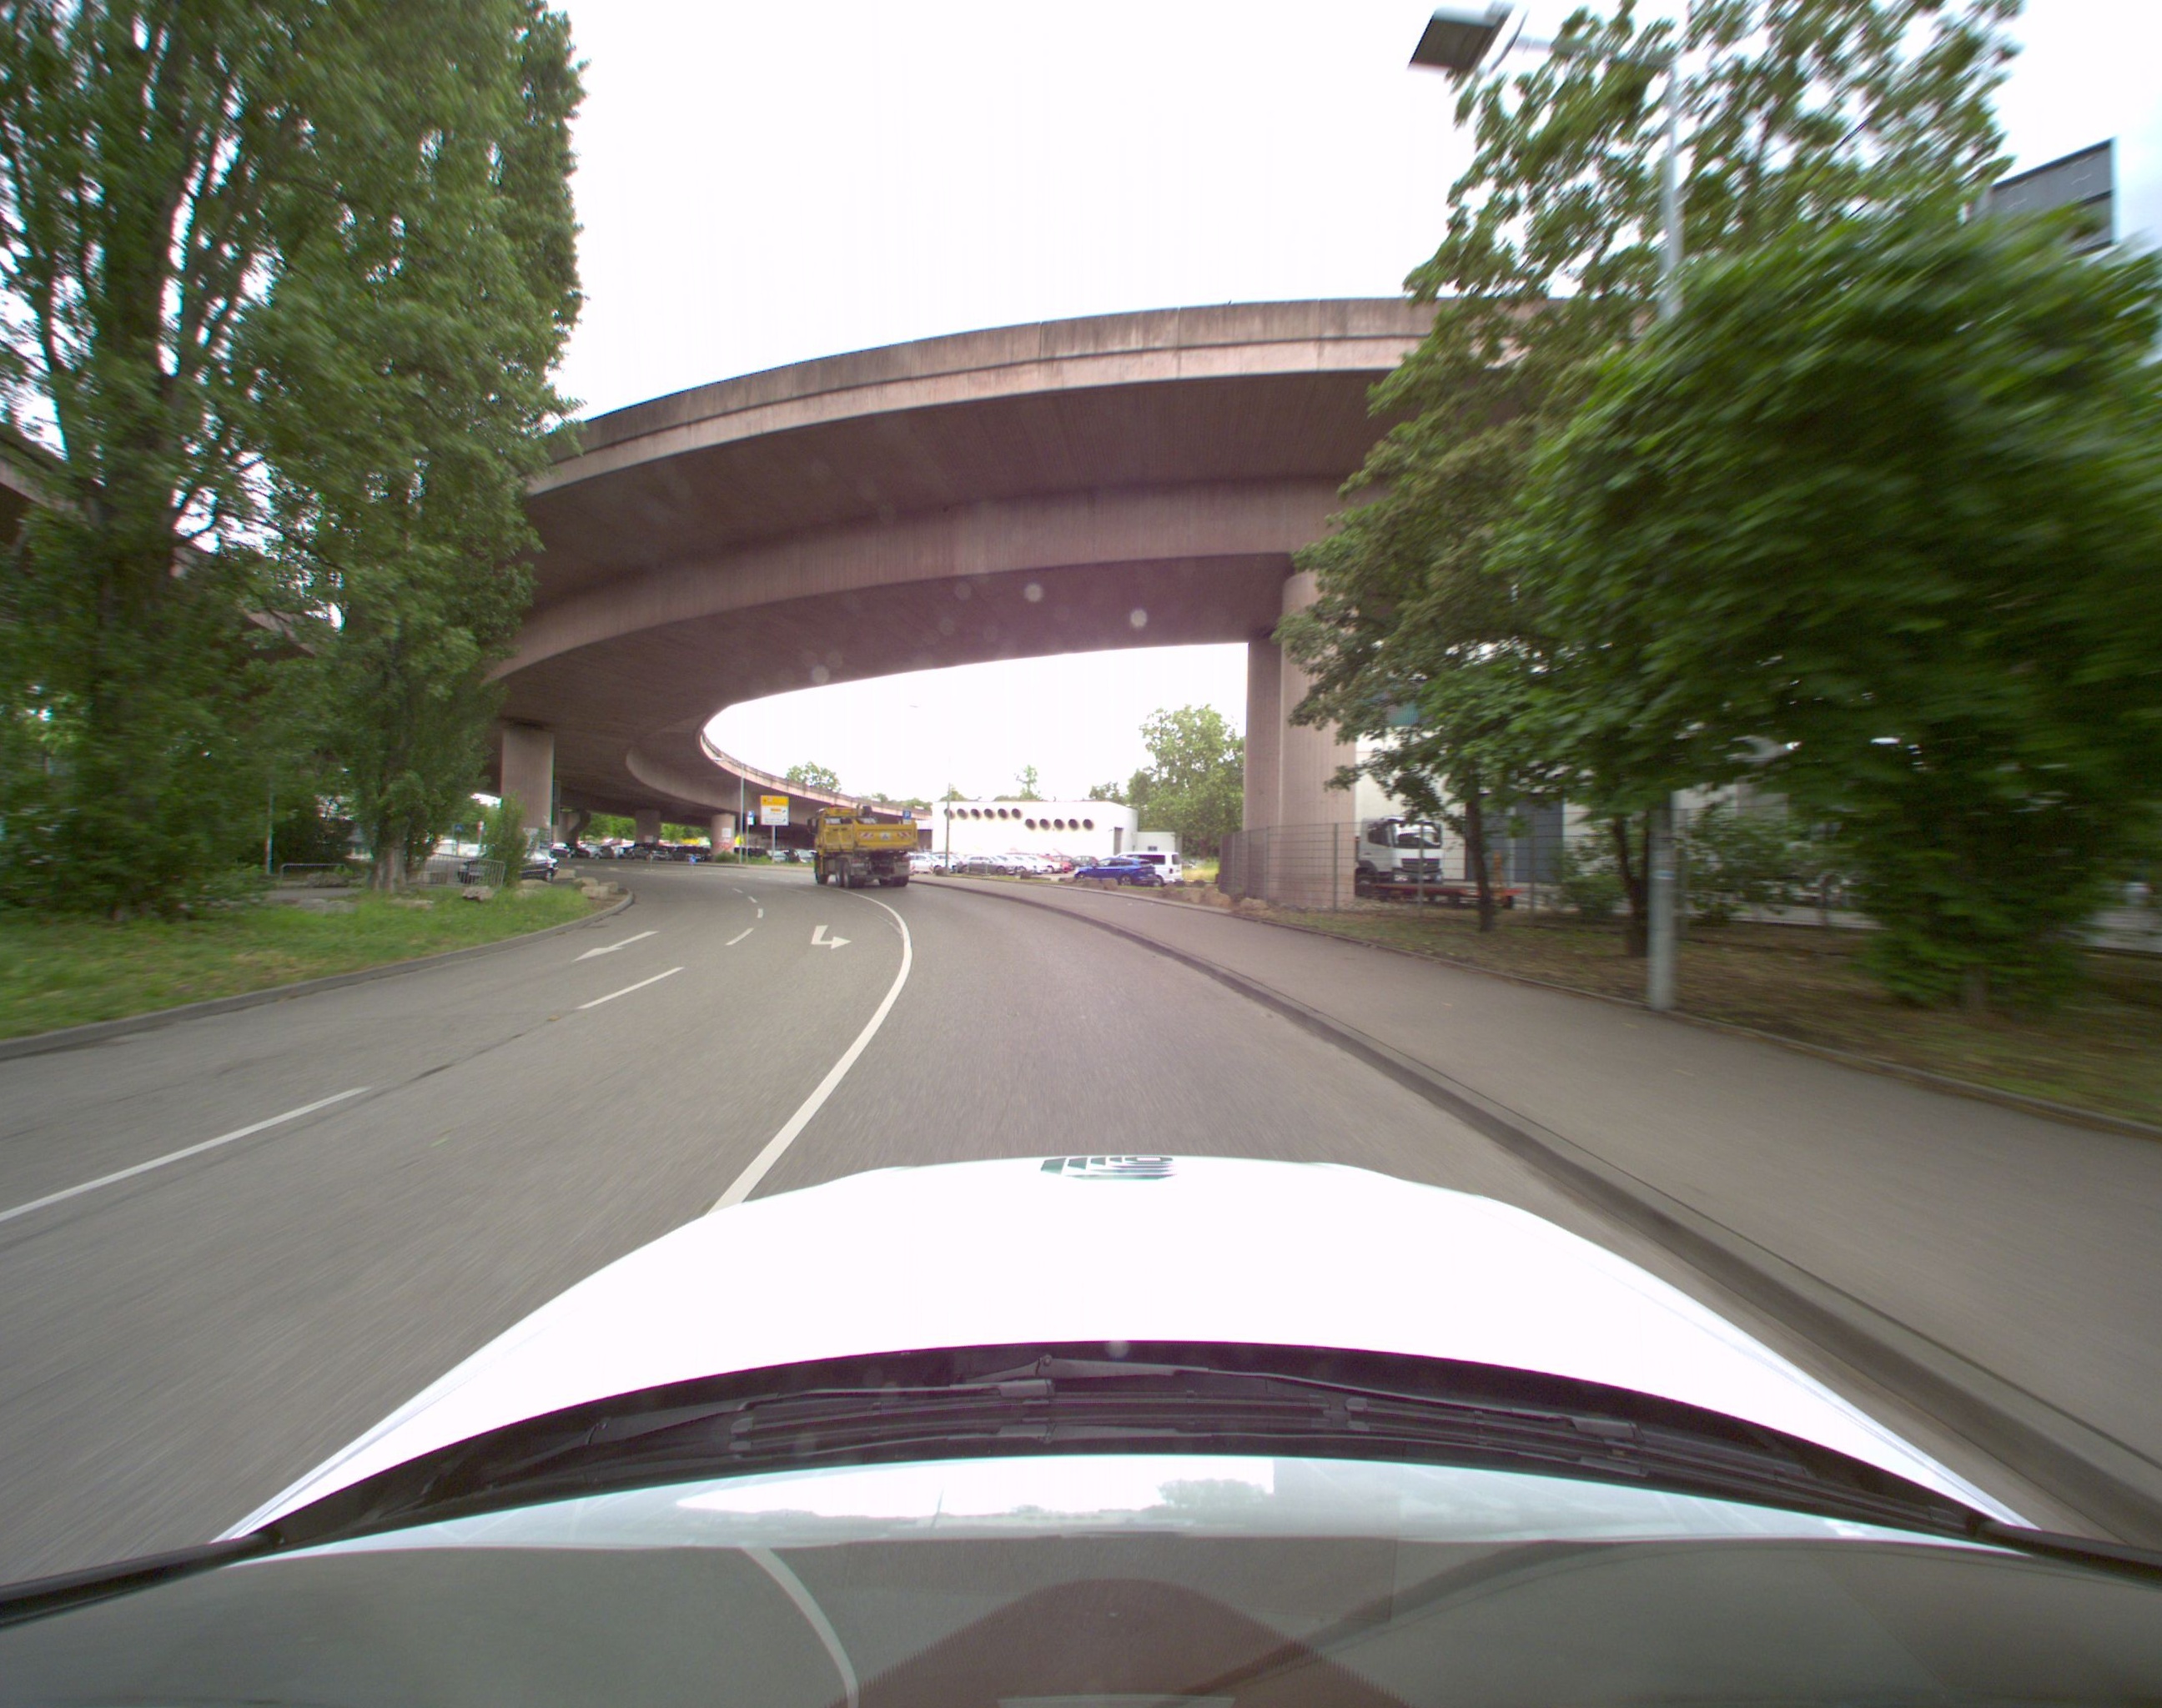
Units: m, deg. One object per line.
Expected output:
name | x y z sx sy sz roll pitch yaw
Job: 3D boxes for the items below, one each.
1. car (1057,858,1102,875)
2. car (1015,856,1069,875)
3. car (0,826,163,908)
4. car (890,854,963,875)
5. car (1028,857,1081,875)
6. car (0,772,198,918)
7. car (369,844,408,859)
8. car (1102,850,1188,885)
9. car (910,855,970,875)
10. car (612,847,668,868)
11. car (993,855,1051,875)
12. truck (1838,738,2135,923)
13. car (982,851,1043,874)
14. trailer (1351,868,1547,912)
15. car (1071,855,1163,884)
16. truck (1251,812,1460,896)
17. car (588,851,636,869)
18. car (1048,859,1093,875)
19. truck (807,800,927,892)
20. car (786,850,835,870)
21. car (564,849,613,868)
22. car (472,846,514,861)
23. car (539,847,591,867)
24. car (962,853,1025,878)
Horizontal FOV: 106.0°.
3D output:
car | -0.132 1.206 78.267 3.954 1.546 1.865 0 1 19
car | -3.168 0.960 66.505 3.954 1.407 2.009 -1 -2 18
car | -25.244 0.377 19.338 4.121 1.681 1.807 -6 0 -35
car | -11.105 0.759 58.559 4.781 1.442 2.009 -1 -2 18
car | -2.245 1.043 68.769 3.954 1.442 2.009 -1 -2 18
car | -15.890 -0.119 12.933 2.010 2.014 3.953 1 -1 -40
car | -85.714 -0.275 100.786 3.997 1.764 2.072 -1 -2 22
car | 3.534 0.789 45.277 4.273 1.857 2.012 -1 -2 28
car | -10.517 0.833 60.859 3.954 1.442 2.009 -1 -2 18
car | -36.788 0.301 67.977 3.908 1.633 1.900 -1 -2 18
car | -4.477 0.826 61.885 3.954 1.442 2.009 -1 -2 18
truck | 27.395 -0.612 25.352 3.174 4.780 8.094 -1 0 25
car | -4.979 0.641 59.386 3.955 1.640 2.009 -1 -2 17
trailer | 8.812 0.812 20.344 2.141 0.743 6.295 -3 0 1
car | 1.851 0.835 42.791 4.401 1.442 2.012 -2 -2 34
truck | 9.297 0.077 28.597 2.730 2.552 7.169 0 -1 -26
car | -48.151 0.582 83.666 4.005 1.764 1.782 -1 -2 12
car | -0.938 1.191 73.399 3.670 1.442 1.642 -1 -2 18
truck | -9.510 -0.372 35.363 2.945 3.481 8.167 -3 2 -30
car | -24.185 0.556 72.950 3.838 1.633 1.785 -1 -2 18
car | -48.938 0.494 80.900 4.005 1.764 1.782 -1 -2 12
car | -81.185 -0.041 112.416 4.411 2.022 2.307 -1 -2 15
car | -45.762 0.280 72.250 3.838 1.633 1.785 -1 -2 18
car | -6.108 0.805 56.828 3.955 1.640 1.697 -1 -2 17
